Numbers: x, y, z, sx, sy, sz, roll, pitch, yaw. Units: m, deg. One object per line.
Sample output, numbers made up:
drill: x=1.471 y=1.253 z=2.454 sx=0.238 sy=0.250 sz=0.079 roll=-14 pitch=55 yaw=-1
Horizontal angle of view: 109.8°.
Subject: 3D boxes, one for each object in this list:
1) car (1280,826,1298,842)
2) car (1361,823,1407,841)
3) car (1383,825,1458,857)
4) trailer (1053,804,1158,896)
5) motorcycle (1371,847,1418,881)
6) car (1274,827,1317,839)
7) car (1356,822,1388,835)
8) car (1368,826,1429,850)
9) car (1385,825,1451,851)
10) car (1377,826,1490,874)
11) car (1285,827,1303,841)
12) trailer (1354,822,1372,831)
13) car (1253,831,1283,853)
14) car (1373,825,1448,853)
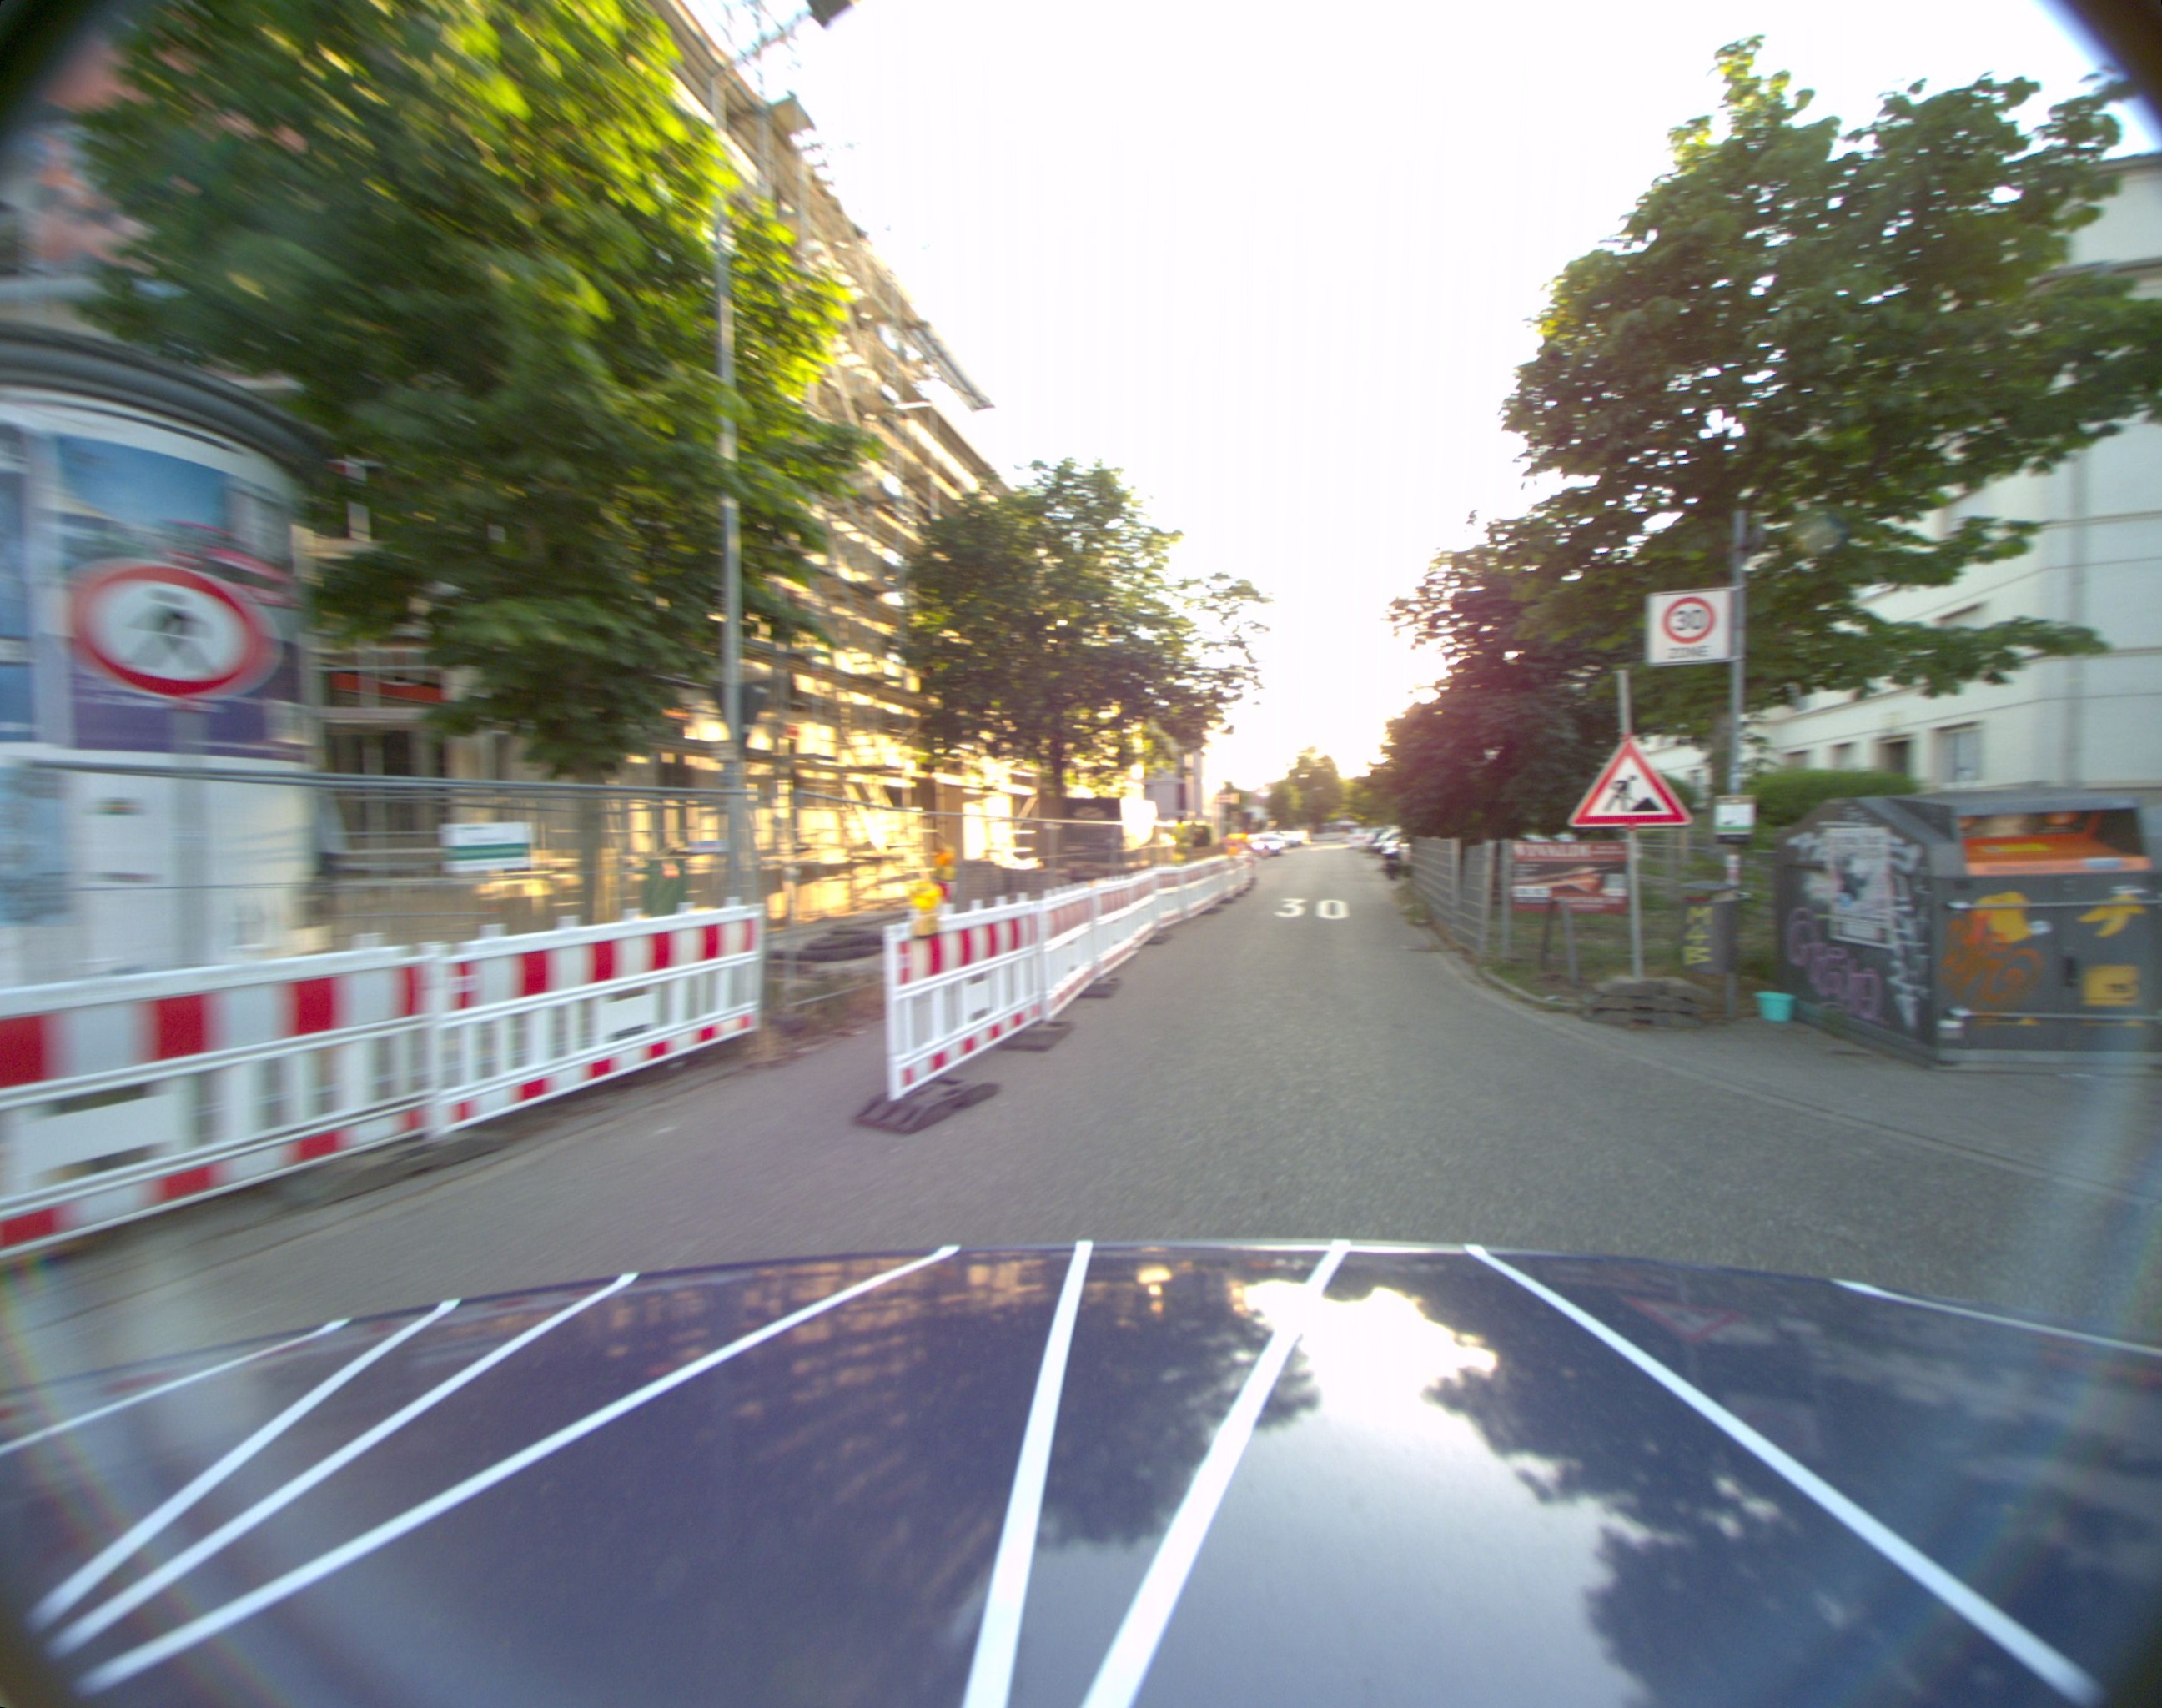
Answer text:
car: x=20.268 y=-1.937 z=73.850 sx=1.616 sy=1.461 sz=4.000 roll=-1 pitch=2 yaw=16
car: x=27.519 y=-1.996 z=69.146 sx=3.704 sy=1.476 sz=1.730 roll=-2 pitch=2 yaw=16
car: x=18.567 y=-0.739 z=41.735 sx=3.480 sy=1.557 sz=1.729 roll=-2 pitch=3 yaw=13
trailer: x=0.864 y=-0.170 z=23.035 sx=1.996 sy=2.526 sz=4.190 roll=0 pitch=2 yaw=19
motorcycle: x=10.688 y=0.335 z=25.879 sx=2.215 sy=1.015 sz=0.538 roll=-5 pitch=2 yaw=-43
car: x=25.687 y=-2.555 z=91.079 sx=4.823 sy=1.390 sz=1.772 roll=1 pitch=2 yaw=19
car: x=47.775 y=-4.232 z=124.710 sx=4.779 sy=2.058 sz=2.003 roll=0 pitch=2 yaw=23
car: x=21.268 y=-1.096 z=51.018 sx=3.681 sy=1.437 sz=1.730 roll=-2 pitch=3 yaw=21
car: x=21.257 y=-1.014 z=48.035 sx=3.681 sy=1.476 sz=1.730 roll=-2 pitch=3 yaw=20
car: x=13.260 y=-0.153 z=28.801 sx=3.628 sy=1.548 sz=1.694 roll=-4 pitch=1 yaw=18
car: x=23.606 y=-2.264 z=84.128 sx=1.742 sy=1.461 sz=3.763 roll=-1 pitch=2 yaw=19
trailer: x=68.179 y=-6.650 z=183.683 sx=3.679 sy=2.057 sz=2.003 roll=-1 pitch=2 yaw=32
car: x=12.902 y=-0.856 z=52.251 sx=1.778 sy=1.389 sz=4.111 roll=-1 pitch=2 yaw=18
car: x=19.595 y=-0.878 z=45.315 sx=3.982 sy=1.481 sz=1.730 roll=-2 pitch=3 yaw=20
